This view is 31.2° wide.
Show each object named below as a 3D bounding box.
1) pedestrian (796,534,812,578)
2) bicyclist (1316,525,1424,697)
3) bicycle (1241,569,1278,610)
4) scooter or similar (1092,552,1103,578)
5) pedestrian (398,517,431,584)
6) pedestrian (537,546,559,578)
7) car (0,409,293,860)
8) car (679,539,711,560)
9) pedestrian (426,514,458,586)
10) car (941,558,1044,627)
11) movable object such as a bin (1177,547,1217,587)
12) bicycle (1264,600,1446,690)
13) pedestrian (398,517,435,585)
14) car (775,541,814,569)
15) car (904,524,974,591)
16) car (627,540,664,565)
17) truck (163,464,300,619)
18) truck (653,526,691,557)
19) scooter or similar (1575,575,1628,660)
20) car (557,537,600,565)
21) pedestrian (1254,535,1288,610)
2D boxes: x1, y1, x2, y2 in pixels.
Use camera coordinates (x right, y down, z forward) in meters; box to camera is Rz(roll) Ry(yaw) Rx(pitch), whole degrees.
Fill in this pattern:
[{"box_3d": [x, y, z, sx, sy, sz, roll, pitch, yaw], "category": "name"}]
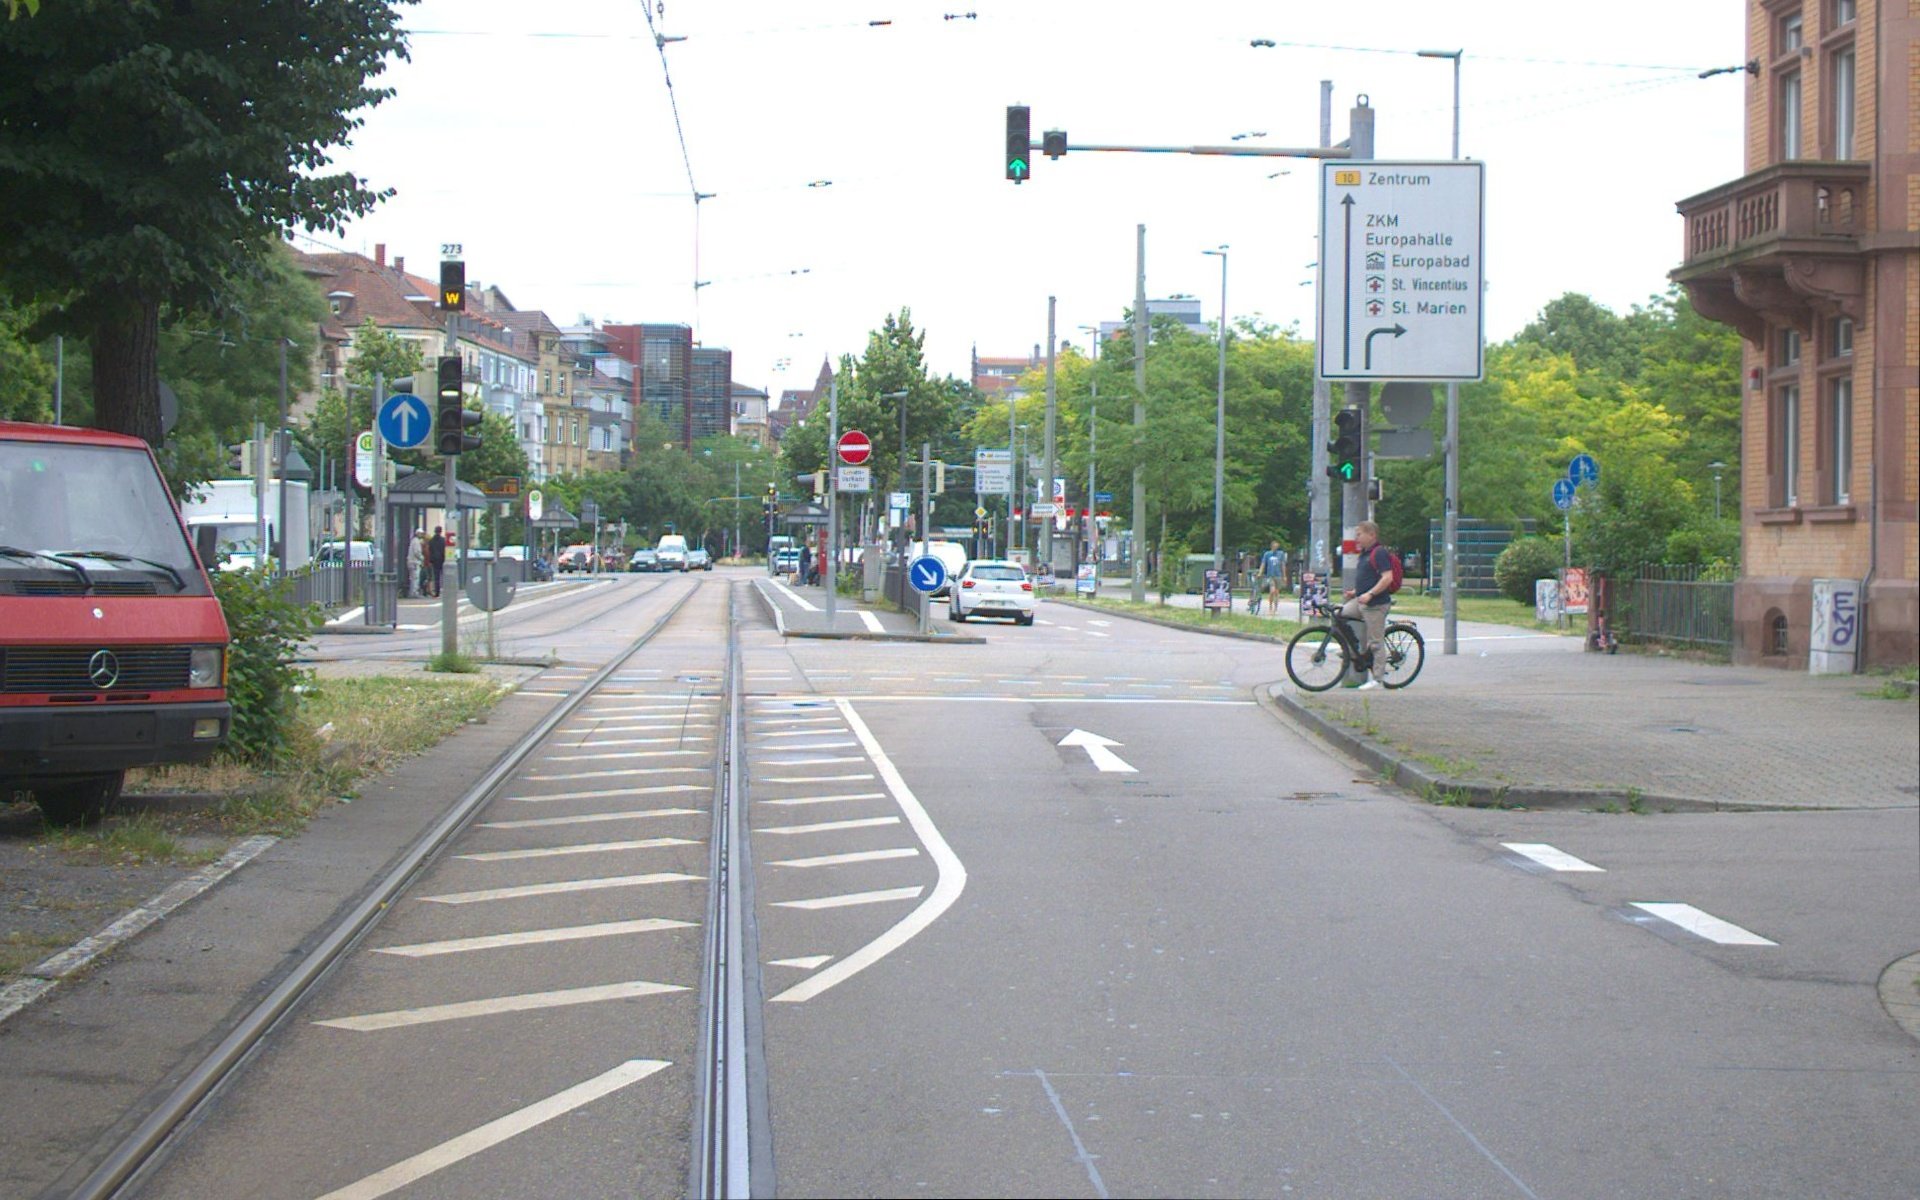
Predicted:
[{"box_3d": [-5.581, -1.573, 122.649, 0.532, 1.552, 0.571, 0, 1, 0], "category": "pedestrian"}, {"box_3d": [4.351, 0.108, 36.491, 0.679, 1.789, 0.891, 1, 1, -35], "category": "bicyclist"}, {"box_3d": [7.499, -0.263, 86.037, 0.654, 0.999, 1.779, 1, 1, -4], "category": "bicycle"}, {"box_3d": [5.958, -1.512, 148.565, 0.376, 1.137, 1.199, 0, 1, 7], "category": "scooter or similar"}, {"box_3d": [-13.603, -1.237, 85.787, 0.768, 1.654, 1.025, 0, 1, -6], "category": "pedestrian"}, {"box_3d": [-16.659, -1.532, 139.044, 0.864, 1.262, 0.694, 0, 1, -6], "category": "pedestrian"}, {"box_3d": [-5.707, 0.101, 17.011, 4.762, 1.967, 1.956, 1, 1, 35], "category": "car"}, {"box_3d": [-18.872, -3.583, 245.116, 1.770, 1.488, 3.886, 1, 0, 3], "category": "car"}, {"box_3d": [-12.372, -1.199, 82.136, 0.699, 1.709, 0.699, 0, 1, -12], "category": "pedestrian"}, {"box_3d": [0.715, -0.192, 77.825, 1.782, 1.467, 4.011, 1, 1, -7], "category": "car"}, {"box_3d": [8.439, -1.178, 122.439, 1.282, 1.385, 1.159, 1, 0, -3], "category": "movable object such as a bin"}, {"box_3d": [4.218, 0.477, 36.675, 1.862, 0.921, 0.796, 1, 1, -36], "category": "bicycle"}, {"box_3d": [-13.112, -1.186, 82.966, 0.678, 1.618, 0.633, 1, 1, 14], "category": "pedestrian"}, {"box_3d": [-9.076, -2.478, 188.986, 1.770, 1.488, 3.886, 1, 0, 3], "category": "car"}, {"box_3d": [-0.652, -1.301, 104.008, 1.782, 1.956, 4.383, 1, 1, -4], "category": "car"}, {"box_3d": [-19.713, -2.982, 215.324, 1.770, 1.488, 3.886, 1, 0, 3], "category": "car"}, {"box_3d": [-15.608, -1.232, 74.009, 2.184, 3.146, 7.333, 1, 0, -7], "category": "truck"}, {"box_3d": [-19.070, -3.868, 227.553, 1.788, 2.025, 5.395, 1, 0, 3], "category": "truck"}, {"box_3d": [8.802, 0.234, 47.200, 0.376, 1.137, 1.200, 0, 1, -6], "category": "scooter or similar"}, {"box_3d": [-21.258, -2.732, 191.515, 1.770, 1.488, 3.886, 1, 0, 3], "category": "car"}, {"box_3d": [7.781, -0.689, 85.994, 0.739, 1.863, 0.682, 0, 1, -4], "category": "pedestrian"}]
